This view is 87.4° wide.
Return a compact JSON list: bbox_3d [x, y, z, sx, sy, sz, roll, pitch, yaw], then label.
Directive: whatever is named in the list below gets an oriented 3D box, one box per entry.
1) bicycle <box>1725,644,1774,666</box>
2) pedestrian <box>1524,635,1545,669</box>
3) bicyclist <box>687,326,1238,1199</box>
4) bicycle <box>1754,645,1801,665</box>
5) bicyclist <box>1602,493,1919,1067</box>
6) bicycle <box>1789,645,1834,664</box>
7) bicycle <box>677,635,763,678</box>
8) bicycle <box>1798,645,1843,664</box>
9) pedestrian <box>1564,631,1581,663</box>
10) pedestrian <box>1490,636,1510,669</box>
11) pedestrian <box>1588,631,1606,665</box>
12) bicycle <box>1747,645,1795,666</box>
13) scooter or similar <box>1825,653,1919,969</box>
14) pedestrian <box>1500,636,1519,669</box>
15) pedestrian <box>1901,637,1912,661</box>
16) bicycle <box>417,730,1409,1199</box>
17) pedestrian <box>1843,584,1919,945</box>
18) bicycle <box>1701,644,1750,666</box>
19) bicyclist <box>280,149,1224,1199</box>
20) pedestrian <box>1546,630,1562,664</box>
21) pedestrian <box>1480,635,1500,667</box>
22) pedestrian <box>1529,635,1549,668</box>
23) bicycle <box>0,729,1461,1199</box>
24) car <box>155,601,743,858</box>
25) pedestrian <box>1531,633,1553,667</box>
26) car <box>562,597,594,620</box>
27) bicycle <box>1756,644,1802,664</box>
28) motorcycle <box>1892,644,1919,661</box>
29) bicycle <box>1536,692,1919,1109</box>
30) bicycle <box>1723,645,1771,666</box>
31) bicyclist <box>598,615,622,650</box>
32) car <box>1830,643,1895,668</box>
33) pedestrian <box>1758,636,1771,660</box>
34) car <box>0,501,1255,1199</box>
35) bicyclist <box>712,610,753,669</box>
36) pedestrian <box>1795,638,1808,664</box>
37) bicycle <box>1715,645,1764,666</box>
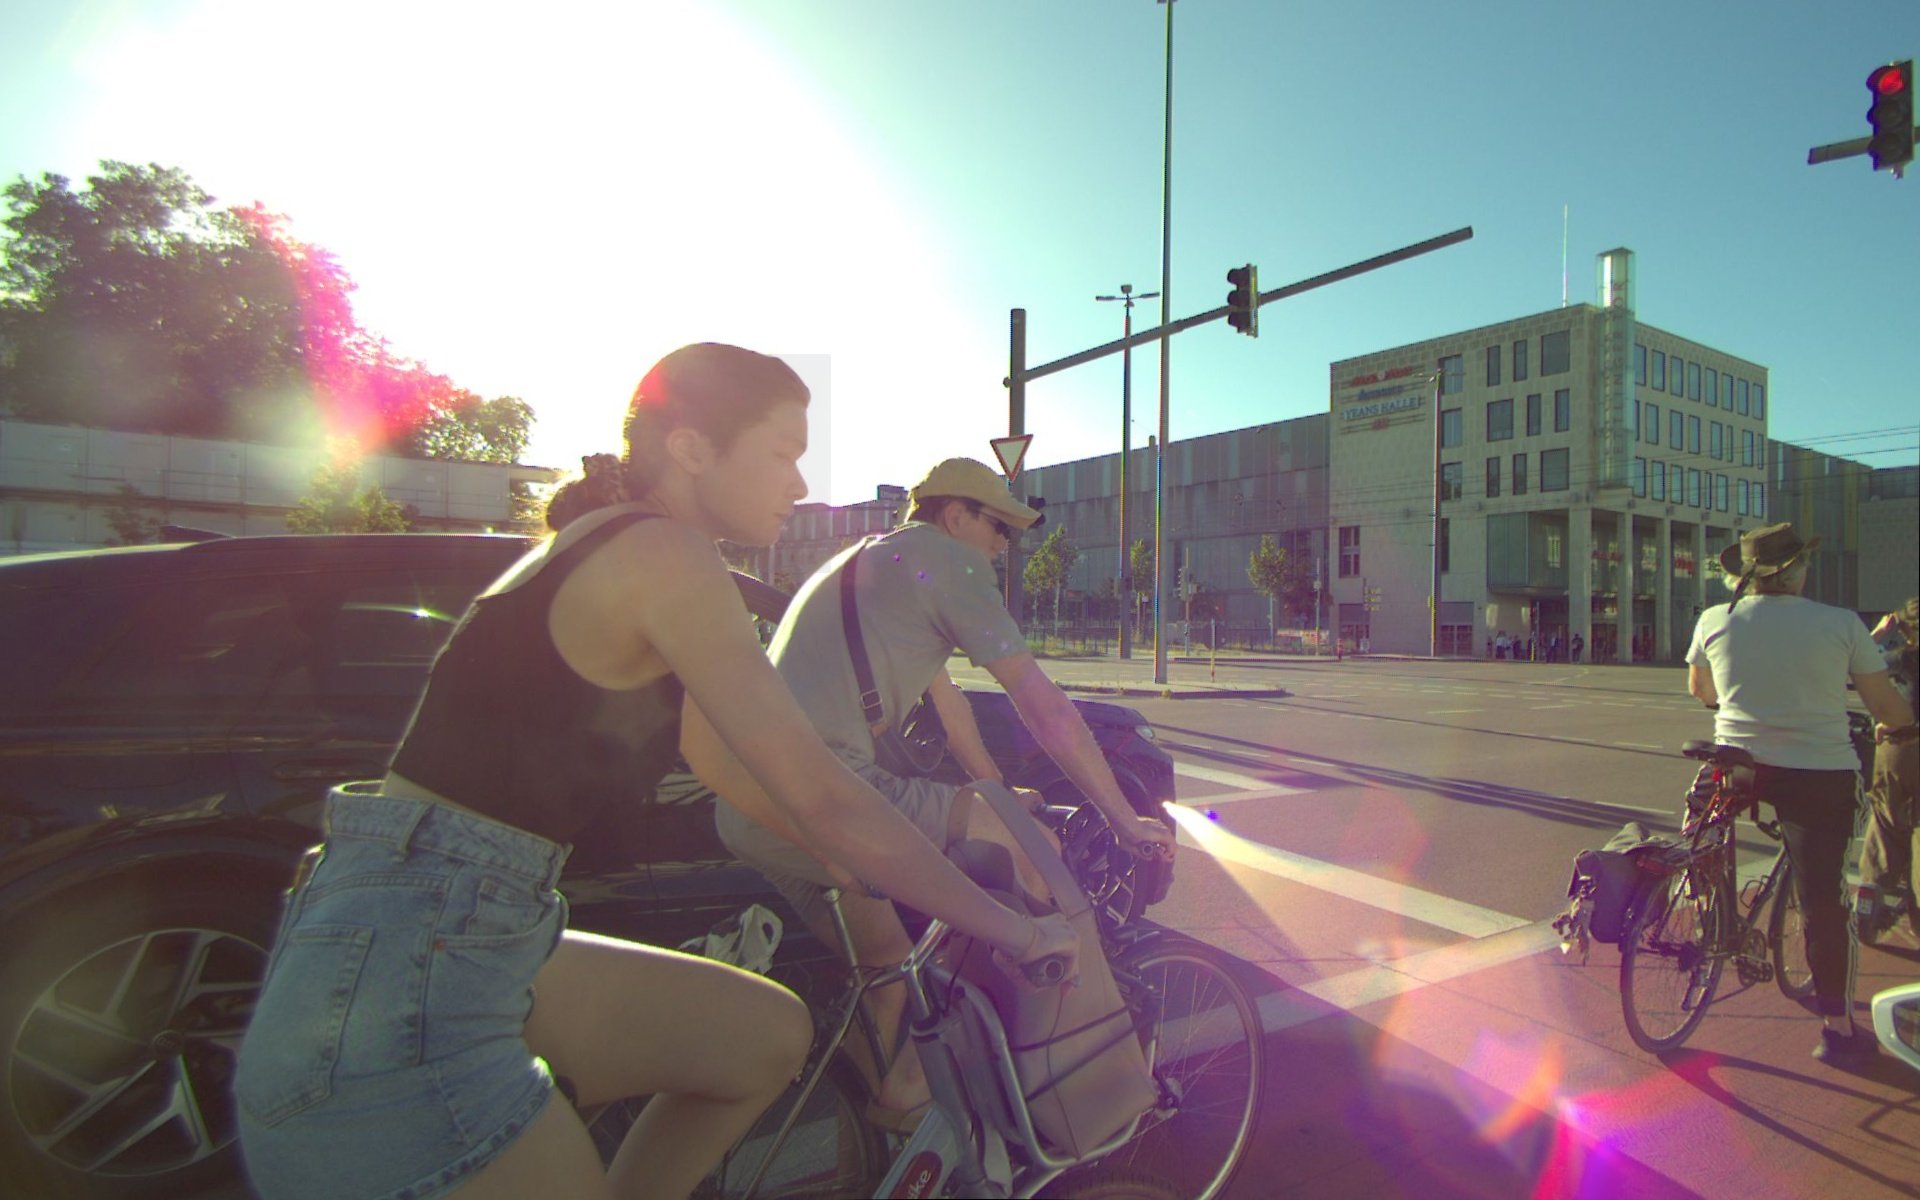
[{"bbox_3d":[48.695,3.389,61.961,0.605,1.238,2.295,1,-1,-31],"label":"bicycle"},{"bbox_3d":[33.395,3.009,58.377,0.710,1.910,0.779,2,0,-36],"label":"pedestrian"},{"bbox_3d":[-0.016,0.413,2.019,0.833,1.627,0.712,1,0,-32],"label":"bicyclist"},{"bbox_3d":[52.899,3.533,65.020,0.605,1.238,2.295,1,-1,-31],"label":"bicycle"},{"bbox_3d":[2.871,0.557,3.552,0.856,1.743,0.657,2,0,-30],"label":"bicyclist"},{"bbox_3d":[58.850,3.735,69.431,0.605,1.238,2.295,1,-1,-31],"label":"bicycle"},{"bbox_3d":[-8.680,2.024,36.310,2.905,1.388,0.970,2,0,16],"label":"bicycle"},{"bbox_3d":[59.821,3.767,69.855,0.605,1.238,2.295,1,-1,-31],"label":"bicycle"},{"bbox_3d":[35.628,2.732,58.425,0.784,1.868,0.862,0,-1,32],"label":"pedestrian"},{"bbox_3d":[32.160,3.132,59.869,0.710,1.910,0.779,2,0,-36],"label":"pedestrian"},{"bbox_3d":[35.871,2.696,56.584,0.784,1.868,0.863,0,-1,28],"label":"pedestrian"},{"bbox_3d":[51.275,3.476,63.553,0.605,1.238,2.295,1,-1,-31],"label":"bicycle"},{"bbox_3d":[4.493,0.926,4.714,1.186,1.311,0.541,2,0,-45],"label":"scooter or similar"},{"bbox_3d":[33.222,3.168,60.690,0.780,1.910,0.709,2,0,-37],"label":"pedestrian"},{"bbox_3d":[71.095,3.672,75.458,0.579,1.702,0.516,1,1,-43],"label":"pedestrian"},{"bbox_3d":[0.027,0.917,2.037,1.949,1.124,0.643,1,0,-33],"label":"bicycle"},{"bbox_3d":[4.634,0.762,4.806,0.568,1.654,0.543,2,0,-45],"label":"pedestrian"},{"bbox_3d":[45.761,3.291,60.085,0.605,1.238,2.295,1,-1,-31],"label":"bicycle"},{"bbox_3d":[-0.252,0.511,1.164,0.866,1.600,0.638,1,0,-33],"label":"bicyclist"},{"bbox_3d":[34.271,2.692,57.976,0.705,1.910,0.785,2,0,33],"label":"pedestrian"},{"bbox_3d":[32.398,3.130,61.393,0.710,1.910,0.779,2,0,-36],"label":"pedestrian"},{"bbox_3d":[34.405,3.047,59.690,0.710,1.910,0.779,2,0,-36],"label":"pedestrian"},{"bbox_3d":[-0.226,0.853,1.188,1.811,1.234,0.612,1,0,-33],"label":"bicycle"},{"bbox_3d":[-3.584,0.790,7.495,3.562,1.505,1.485,1,0,-30],"label":"car"},{"bbox_3d":[35.034,3.001,60.449,0.767,2.040,0.876,2,0,-41],"label":"pedestrian"},{"bbox_3d":[-32.940,0.731,86.510,1.785,1.908,3.964,2,0,-33],"label":"car"},{"bbox_3d":[54.279,3.582,66.568,0.605,1.238,2.295,1,-1,-31],"label":"bicycle"},{"bbox_3d":[70.736,3.908,74.858,0.508,1.223,1.786,1,0,-44],"label":"motorcycle"},{"bbox_3d":[2.880,0.962,3.679,1.810,1.171,0.482,2,0,-31],"label":"bicycle"},{"bbox_3d":[48.045,3.367,61.340,0.605,1.238,2.295,1,-1,-31],"label":"bicycle"},{"bbox_3d":[-20.615,1.908,59.197,0.985,2.040,1.088,2,0,-40],"label":"bicyclist"},{"bbox_3d":[49.782,3.064,55.411,3.956,1.359,1.621,2,-4,-32],"label":"car"},{"bbox_3d":[56.370,3.360,70.415,0.610,1.702,0.565,1,0,-39],"label":"pedestrian"},{"bbox_3d":[-1.152,0.632,3.870,4.630,1.656,1.760,1,0,-32],"label":"car"},{"bbox_3d":[-8.202,1.402,36.205,1.078,2.040,0.961,2,0,15],"label":"bicyclist"},{"bbox_3d":[56.293,3.424,67.185,0.639,1.742,0.449,0,-1,37],"label":"pedestrian"},{"bbox_3d":[46.962,3.330,60.529,0.605,1.238,2.295,1,-1,-31],"label":"bicycle"}]
